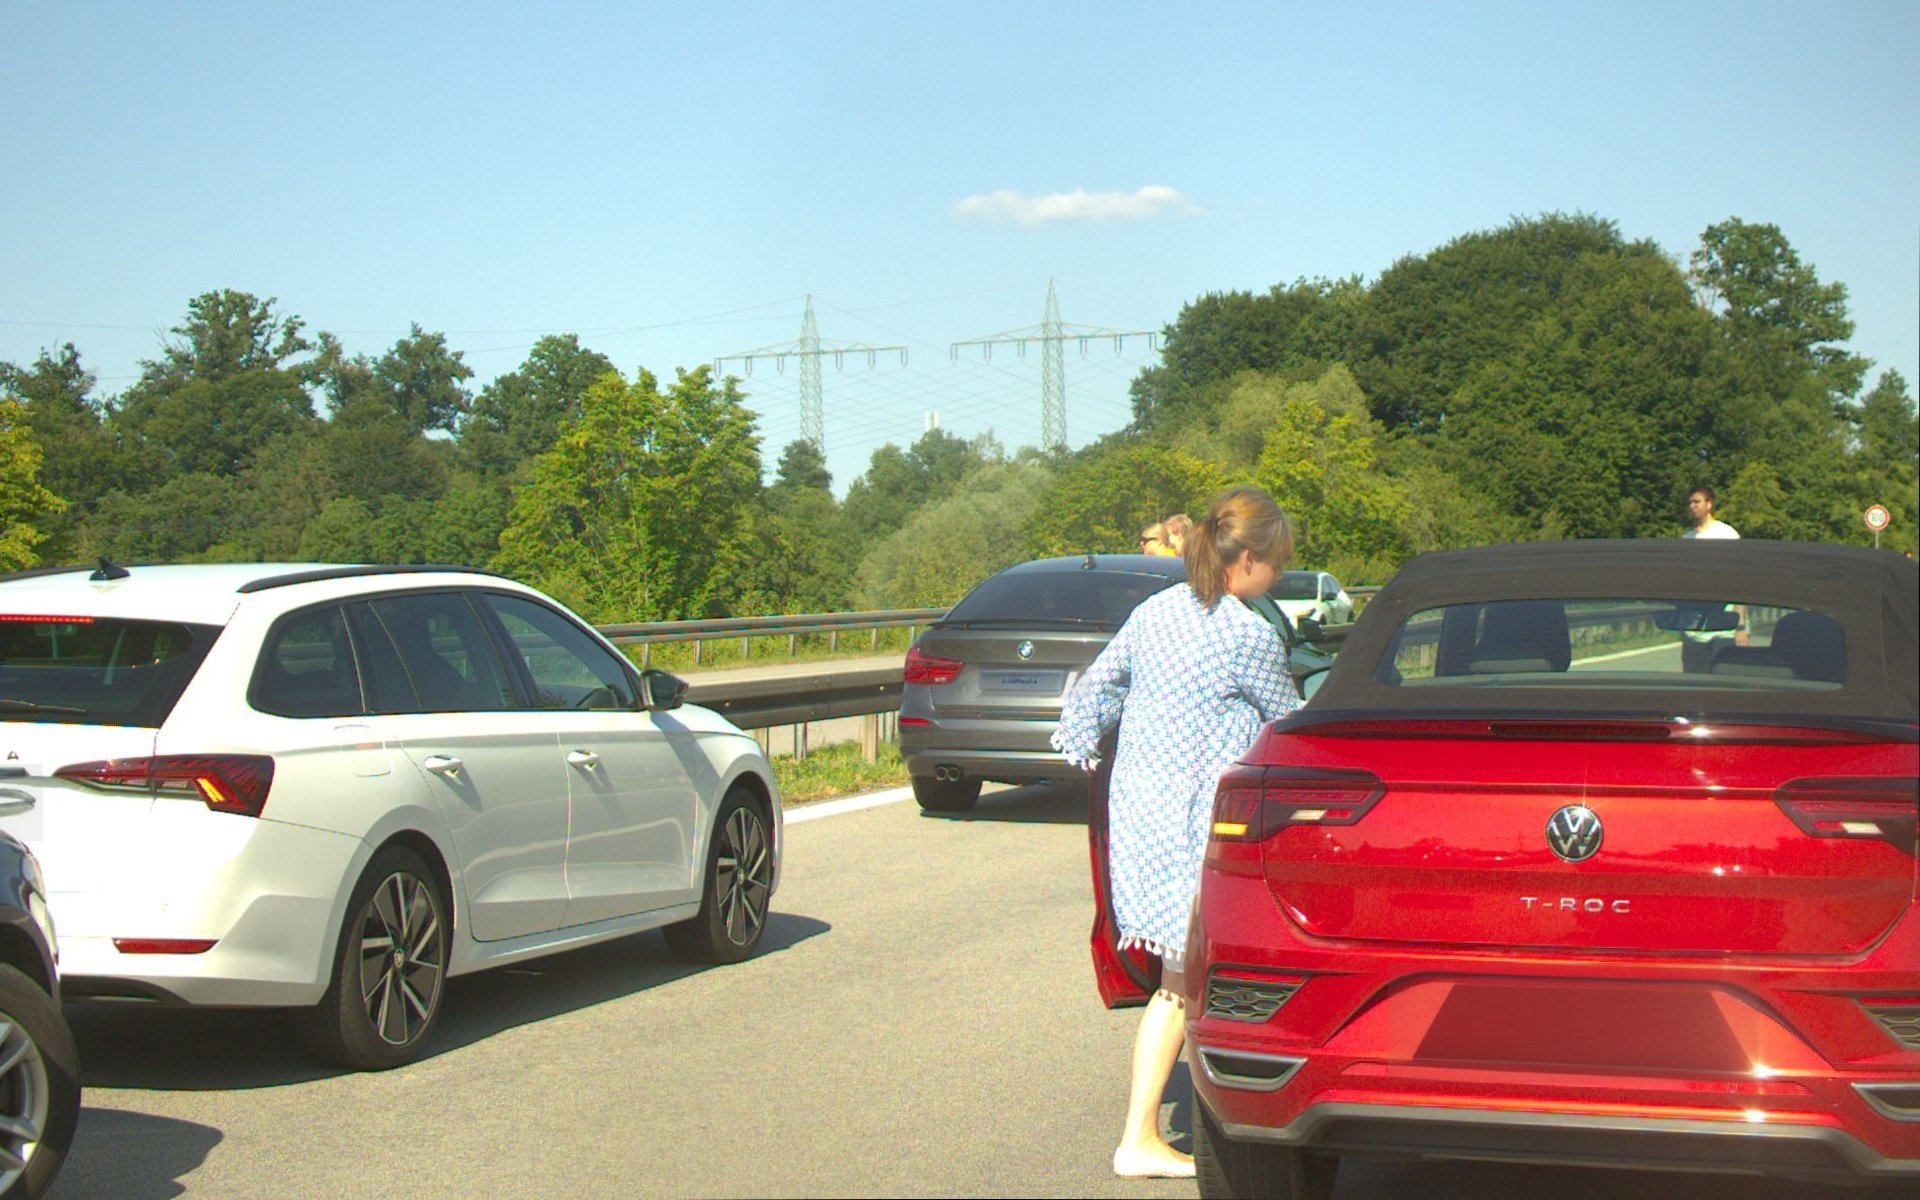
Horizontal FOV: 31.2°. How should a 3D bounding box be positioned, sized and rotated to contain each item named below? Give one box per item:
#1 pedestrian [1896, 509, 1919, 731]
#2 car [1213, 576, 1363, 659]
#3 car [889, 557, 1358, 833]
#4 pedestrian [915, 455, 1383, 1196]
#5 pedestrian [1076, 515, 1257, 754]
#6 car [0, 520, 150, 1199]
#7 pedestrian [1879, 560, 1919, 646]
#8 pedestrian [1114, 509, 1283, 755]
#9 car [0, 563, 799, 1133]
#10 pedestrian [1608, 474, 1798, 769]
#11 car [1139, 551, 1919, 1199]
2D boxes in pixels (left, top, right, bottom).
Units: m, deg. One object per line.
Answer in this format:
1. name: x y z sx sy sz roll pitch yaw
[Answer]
1. pedestrian: 8.329 0.169 27.611 1.088 1.782 1.108 0 1 -32
2. car: 6.127 0.299 63.831 1.696 1.421 4.300 1 1 21
3. car: 1.090 0.468 20.347 1.696 1.421 4.330 1 1 18
4. pedestrian: 0.463 0.507 8.315 0.840 1.677 0.742 -1 0 33
5. pedestrian: 1.566 0.253 25.911 1.115 1.757 1.043 -1 0 17
6. car: -3.087 0.615 5.707 1.788 1.488 4.491 -1 1 9
7. pedestrian: 18.643 0.053 68.007 0.792 1.683 0.791 1 0 23
8. pedestrian: 1.873 0.241 26.861 1.066 1.876 1.092 -1 0 17
9. car: -2.056 0.614 11.118 1.696 1.436 4.207 1 1 18
10. pedestrian: 4.955 0.135 23.008 1.106 1.906 1.257 -1 0 7
11. car: 1.826 0.630 8.565 1.734 1.482 4.207 1 1 18
